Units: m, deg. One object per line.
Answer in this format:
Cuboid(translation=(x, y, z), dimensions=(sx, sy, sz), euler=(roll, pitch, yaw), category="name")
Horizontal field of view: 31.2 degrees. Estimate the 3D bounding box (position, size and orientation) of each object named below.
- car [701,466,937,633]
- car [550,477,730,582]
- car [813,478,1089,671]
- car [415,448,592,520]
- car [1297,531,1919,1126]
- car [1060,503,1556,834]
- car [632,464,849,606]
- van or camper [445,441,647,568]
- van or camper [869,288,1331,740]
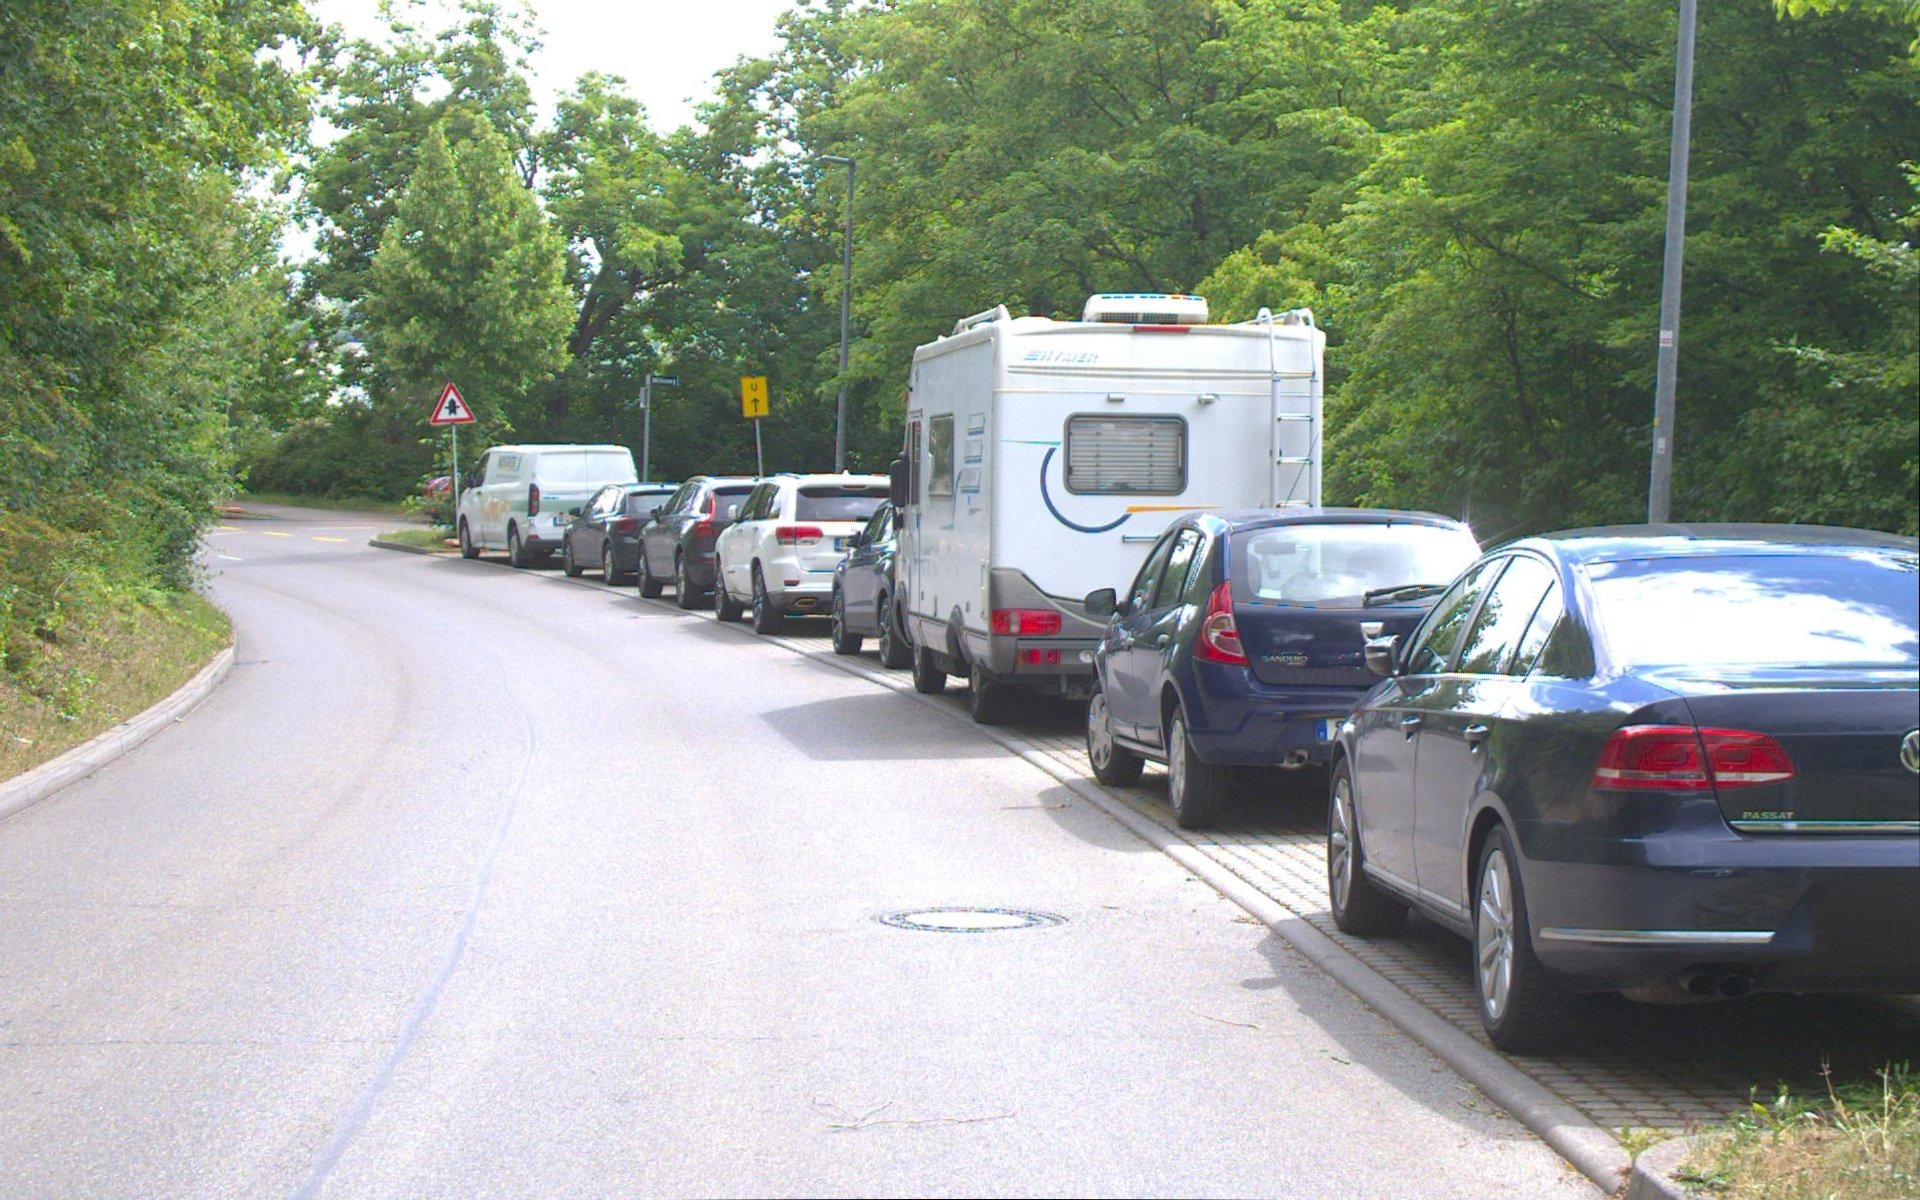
Cuboid(translation=(-1.655, -0.617, 38.481), dimensions=(1.871, 1.683, 4.581), euler=(1, 2, -12), category="car")
Cuboid(translation=(-4.778, -1.061, 50.866), dimensions=(1.797, 1.459, 4.002), euler=(0, 2, -18), category="car")
Cuboid(translation=(-0.153, -0.288, 31.503), dimensions=(1.710, 1.586, 4.001), euler=(-3, 2, -12), category="car")
Cuboid(translation=(-9.968, -2.540, 74.965), dimensions=(3.535, 1.475, 1.783), euler=(0, 4, -18), category="car")
Cuboid(translation=(2.250, 0.522, 10.685), dimensions=(1.776, 1.429, 4.334), euler=(0, 2, -3), category="car")
Cuboid(translation=(1.671, 0.292, 17.806), dimensions=(1.728, 1.514, 3.890), euler=(0, 1, -7), category="car")
Cuboid(translation=(-2.880, -0.885, 44.160), dimensions=(1.993, 1.620, 4.280), euler=(-2, 3, -14), category="car")
Cuboid(translation=(-6.845, -1.609, 56.306), dimensions=(1.993, 1.913, 5.268), euler=(-1, 4, -22), category="van or camper")
Cuboid(translation=(0.831, -0.645, 25.285), dimensions=(2.332, 2.859, 6.152), euler=(1, 2, -7), category="van or camper")
